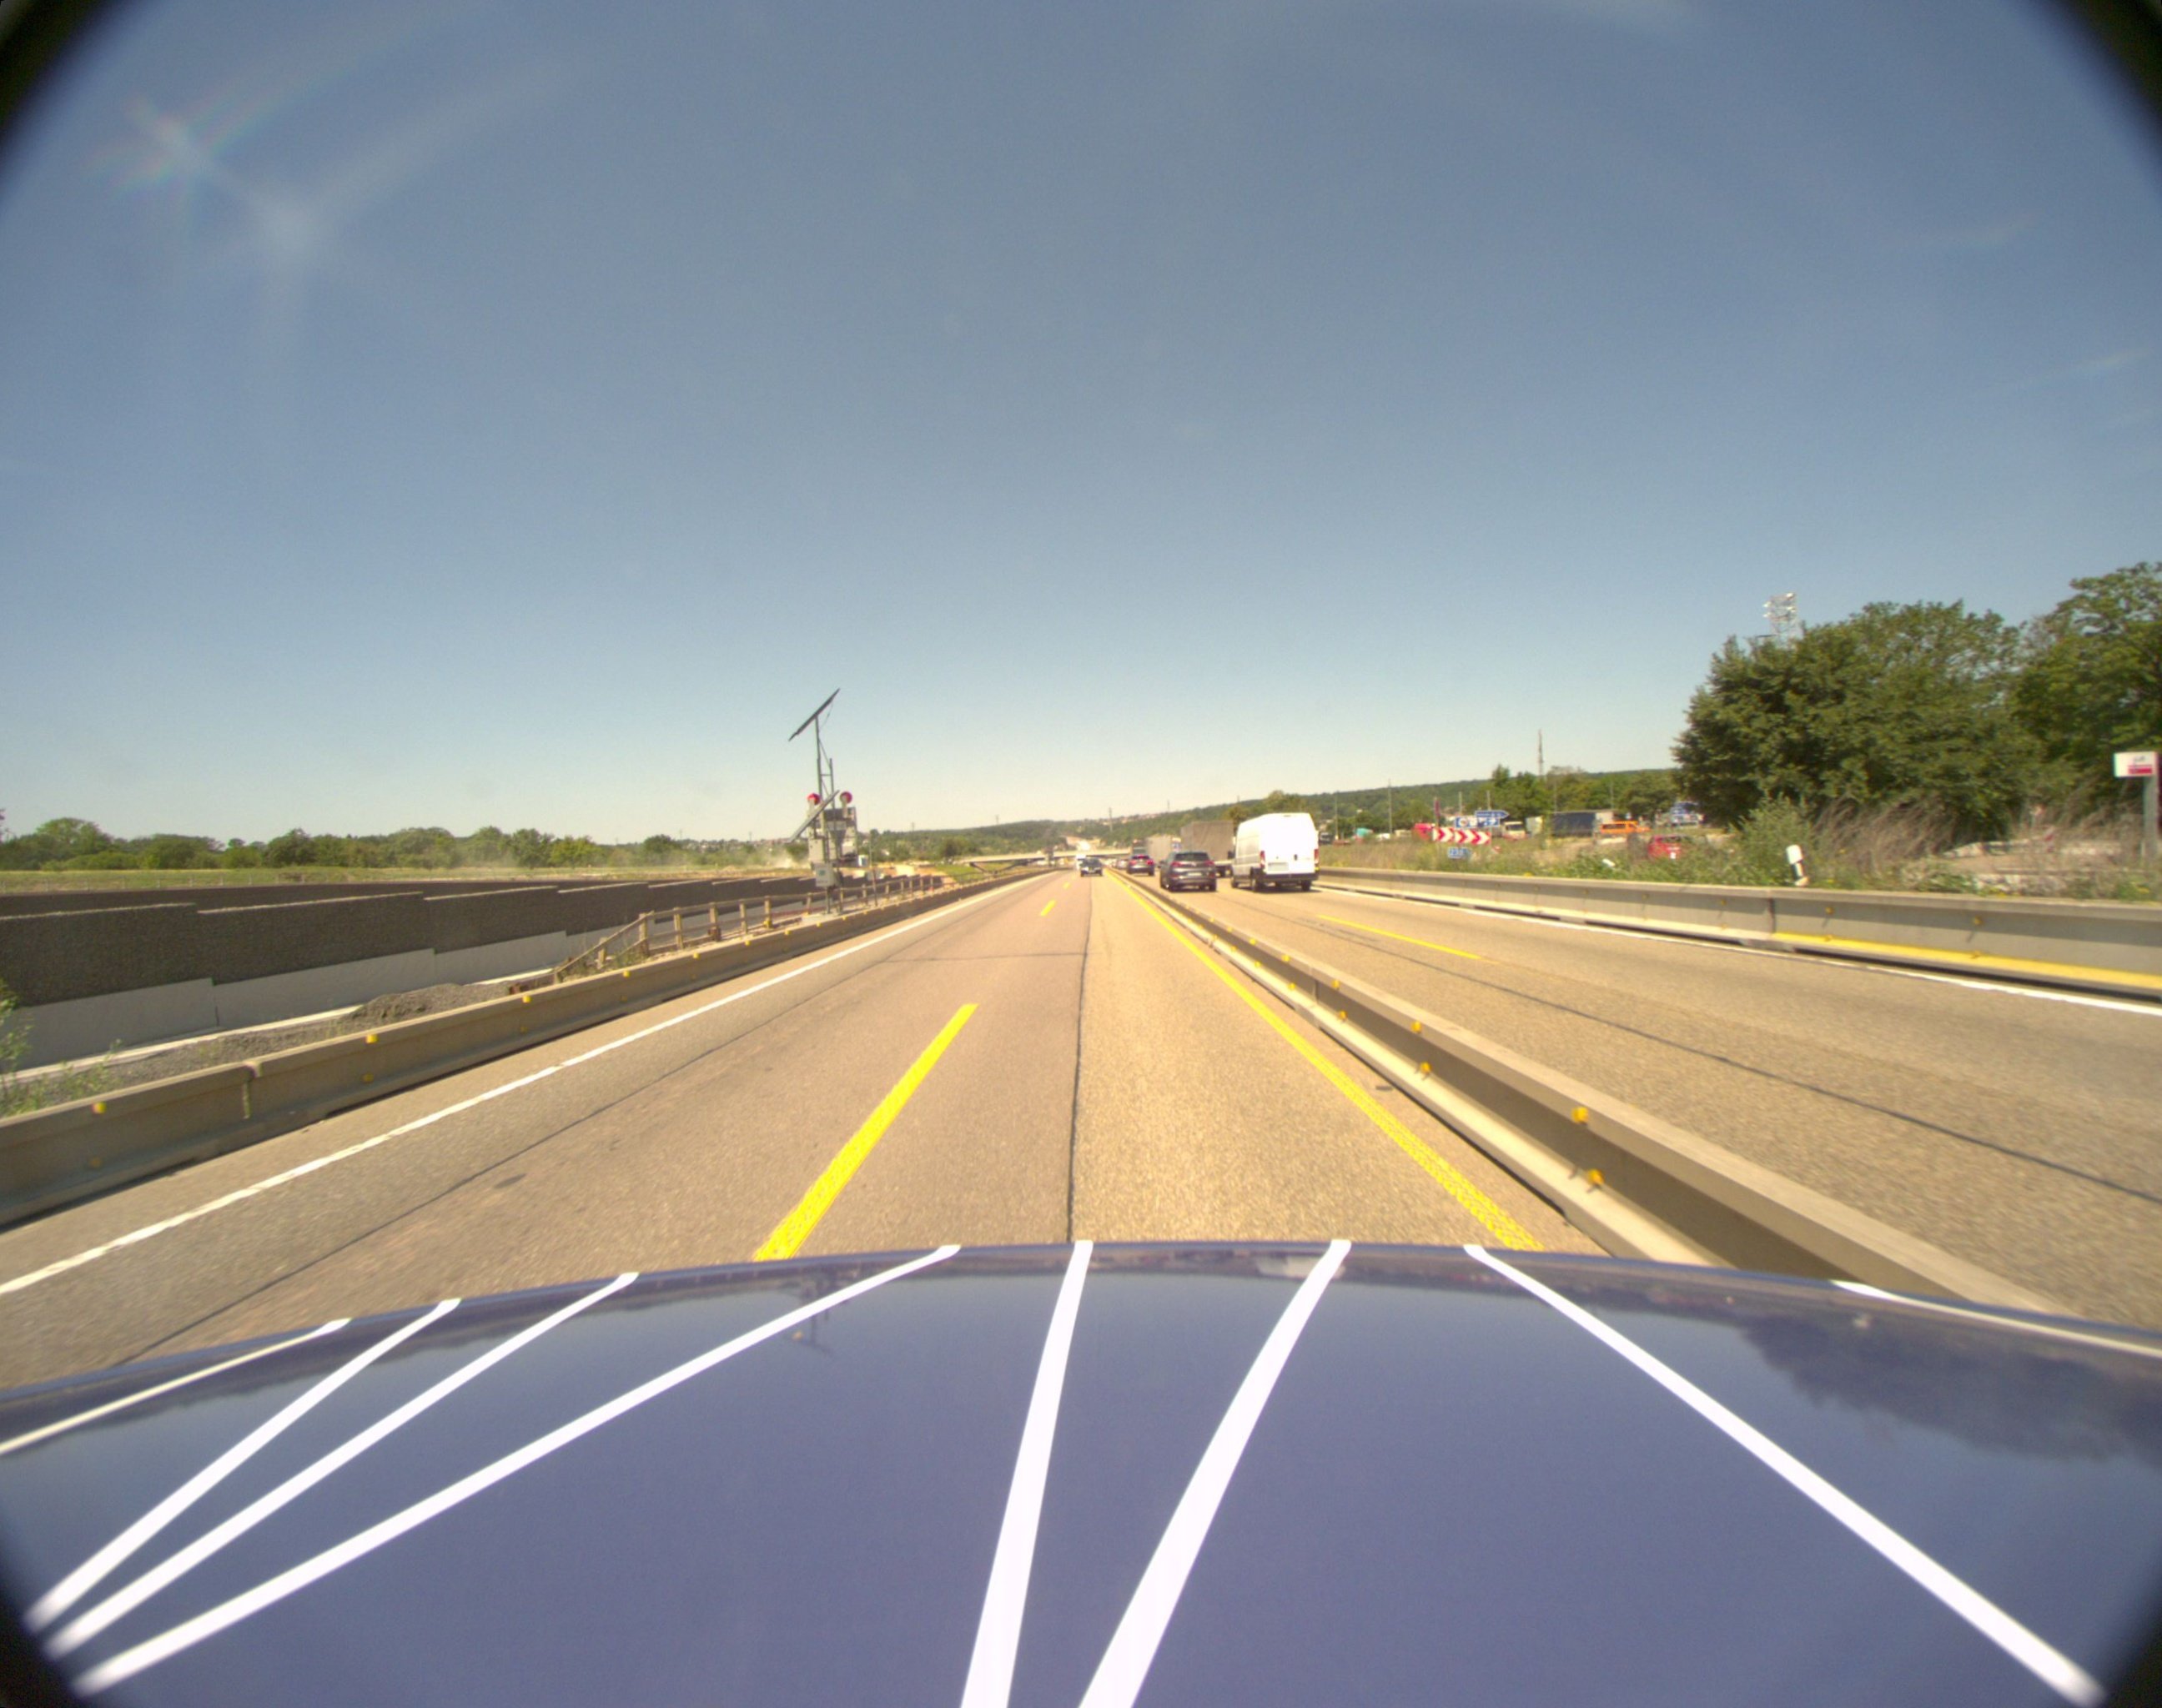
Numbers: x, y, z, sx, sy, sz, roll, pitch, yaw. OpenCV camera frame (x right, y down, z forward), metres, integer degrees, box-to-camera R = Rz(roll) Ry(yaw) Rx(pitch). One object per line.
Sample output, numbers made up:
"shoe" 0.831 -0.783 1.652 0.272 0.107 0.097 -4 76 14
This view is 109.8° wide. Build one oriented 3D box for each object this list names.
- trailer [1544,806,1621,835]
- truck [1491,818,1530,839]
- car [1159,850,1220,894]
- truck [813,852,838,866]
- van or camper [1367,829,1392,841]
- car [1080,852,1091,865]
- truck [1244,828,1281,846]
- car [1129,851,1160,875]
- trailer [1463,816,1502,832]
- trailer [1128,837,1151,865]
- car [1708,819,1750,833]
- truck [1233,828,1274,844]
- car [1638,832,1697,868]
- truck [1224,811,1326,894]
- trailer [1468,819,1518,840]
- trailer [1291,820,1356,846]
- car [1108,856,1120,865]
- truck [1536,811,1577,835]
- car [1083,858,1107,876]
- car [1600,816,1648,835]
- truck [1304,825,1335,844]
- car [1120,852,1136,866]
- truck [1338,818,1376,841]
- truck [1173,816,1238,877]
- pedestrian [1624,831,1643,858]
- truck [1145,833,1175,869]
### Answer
"trailer" 77.515 -5.051 117.916 3.029 3.601 13.434 -3 0 1
"truck" 63.791 -3.711 112.945 2.275 2.751 5.631 -3 0 -1
"car" 4.257 0.664 30.461 1.943 1.601 4.000 -2 0 2
"truck" -68.295 1.360 203.252 3.155 3.444 8.759 -3 0 4
"van or camper" 77.836 -4.996 198.133 2.761 2.717 8.595 -2 0 -3
"car" 1.104 1.030 193.296 2.544 3.126 7.548 -3 0 2
"truck" 48.811 -4.564 204.288 9.253 3.652 2.867 -6 0 45
"car" 4.606 0.624 56.018 1.947 1.649 4.745 -1 0 1
"trailer" 98.479 -7.287 186.667 2.951 3.360 11.705 -2 0 -1
"trailer" 9.548 -0.418 125.014 3.014 4.173 13.852 -2 0 2
"car" 96.279 -4.178 112.925 1.745 1.823 4.402 -2 0 -34
"truck" 50.090 -5.161 221.086 11.491 3.652 2.535 -6 0 45
"car" 26.296 -0.229 34.171 1.500 1.324 4.192 -5 0 31
"truck" 7.278 -0.040 29.369 2.245 2.770 6.492 -2 0 0
"trailer" 63.738 -3.703 117.766 2.260 2.751 9.395 -3 0 -1
"trailer" 48.876 -4.141 153.629 2.865 4.142 12.348 -6 0 -44
"car" 5.608 1.106 129.209 1.770 1.465 4.228 -2 0 1
"truck" 77.637 -5.038 124.279 2.871 3.601 5.960 -3 0 1
"car" 1.120 0.976 59.179 1.810 1.299 4.000 -2 0 2
"car" 77.272 -4.024 108.170 2.003 2.240 5.014 -3 0 -33
"truck" 54.501 -4.431 173.645 5.724 3.596 2.585 -5 0 42
"car" 5.334 0.564 86.699 1.686 1.420 4.202 -2 0 1
"truck" 53.942 -4.795 148.428 2.838 3.728 6.131 -6 0 -44
"truck" 7.518 -0.460 46.973 2.501 3.273 8.116 -4 1 1
"pedestrian" 25.209 -0.415 34.678 0.474 1.197 0.586 -2 0 16
"truck" 7.961 -0.320 77.399 2.395 3.365 7.716 -3 0 2
